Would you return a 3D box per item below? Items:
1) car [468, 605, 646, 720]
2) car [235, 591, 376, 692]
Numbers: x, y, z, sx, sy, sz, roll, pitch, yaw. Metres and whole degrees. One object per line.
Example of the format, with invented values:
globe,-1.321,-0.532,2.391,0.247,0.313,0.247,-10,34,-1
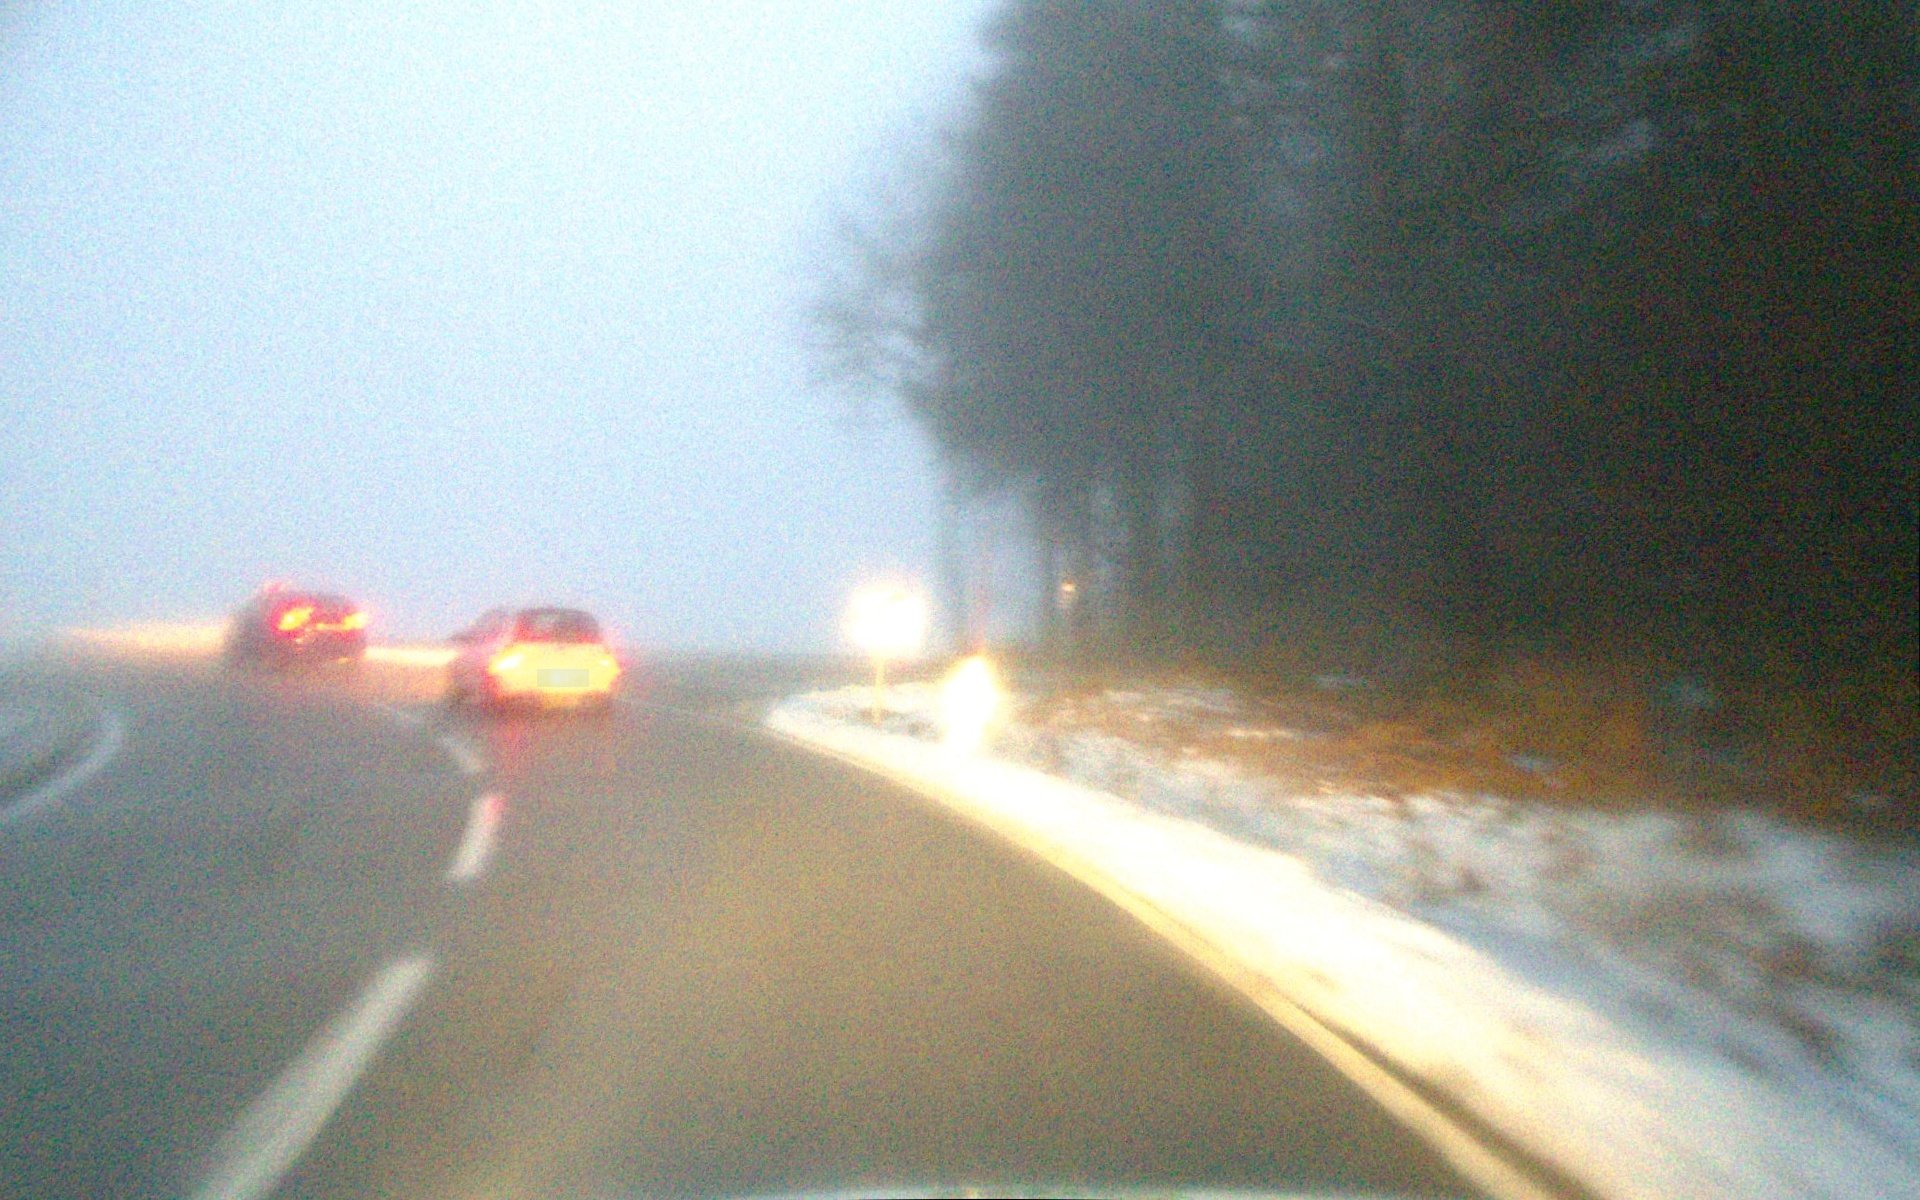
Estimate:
car,-5.658,0.793,22.893,1.918,1.405,3.975,0,0,-21
car,-12.772,0.733,32.152,1.973,1.814,3.959,0,1,-30
